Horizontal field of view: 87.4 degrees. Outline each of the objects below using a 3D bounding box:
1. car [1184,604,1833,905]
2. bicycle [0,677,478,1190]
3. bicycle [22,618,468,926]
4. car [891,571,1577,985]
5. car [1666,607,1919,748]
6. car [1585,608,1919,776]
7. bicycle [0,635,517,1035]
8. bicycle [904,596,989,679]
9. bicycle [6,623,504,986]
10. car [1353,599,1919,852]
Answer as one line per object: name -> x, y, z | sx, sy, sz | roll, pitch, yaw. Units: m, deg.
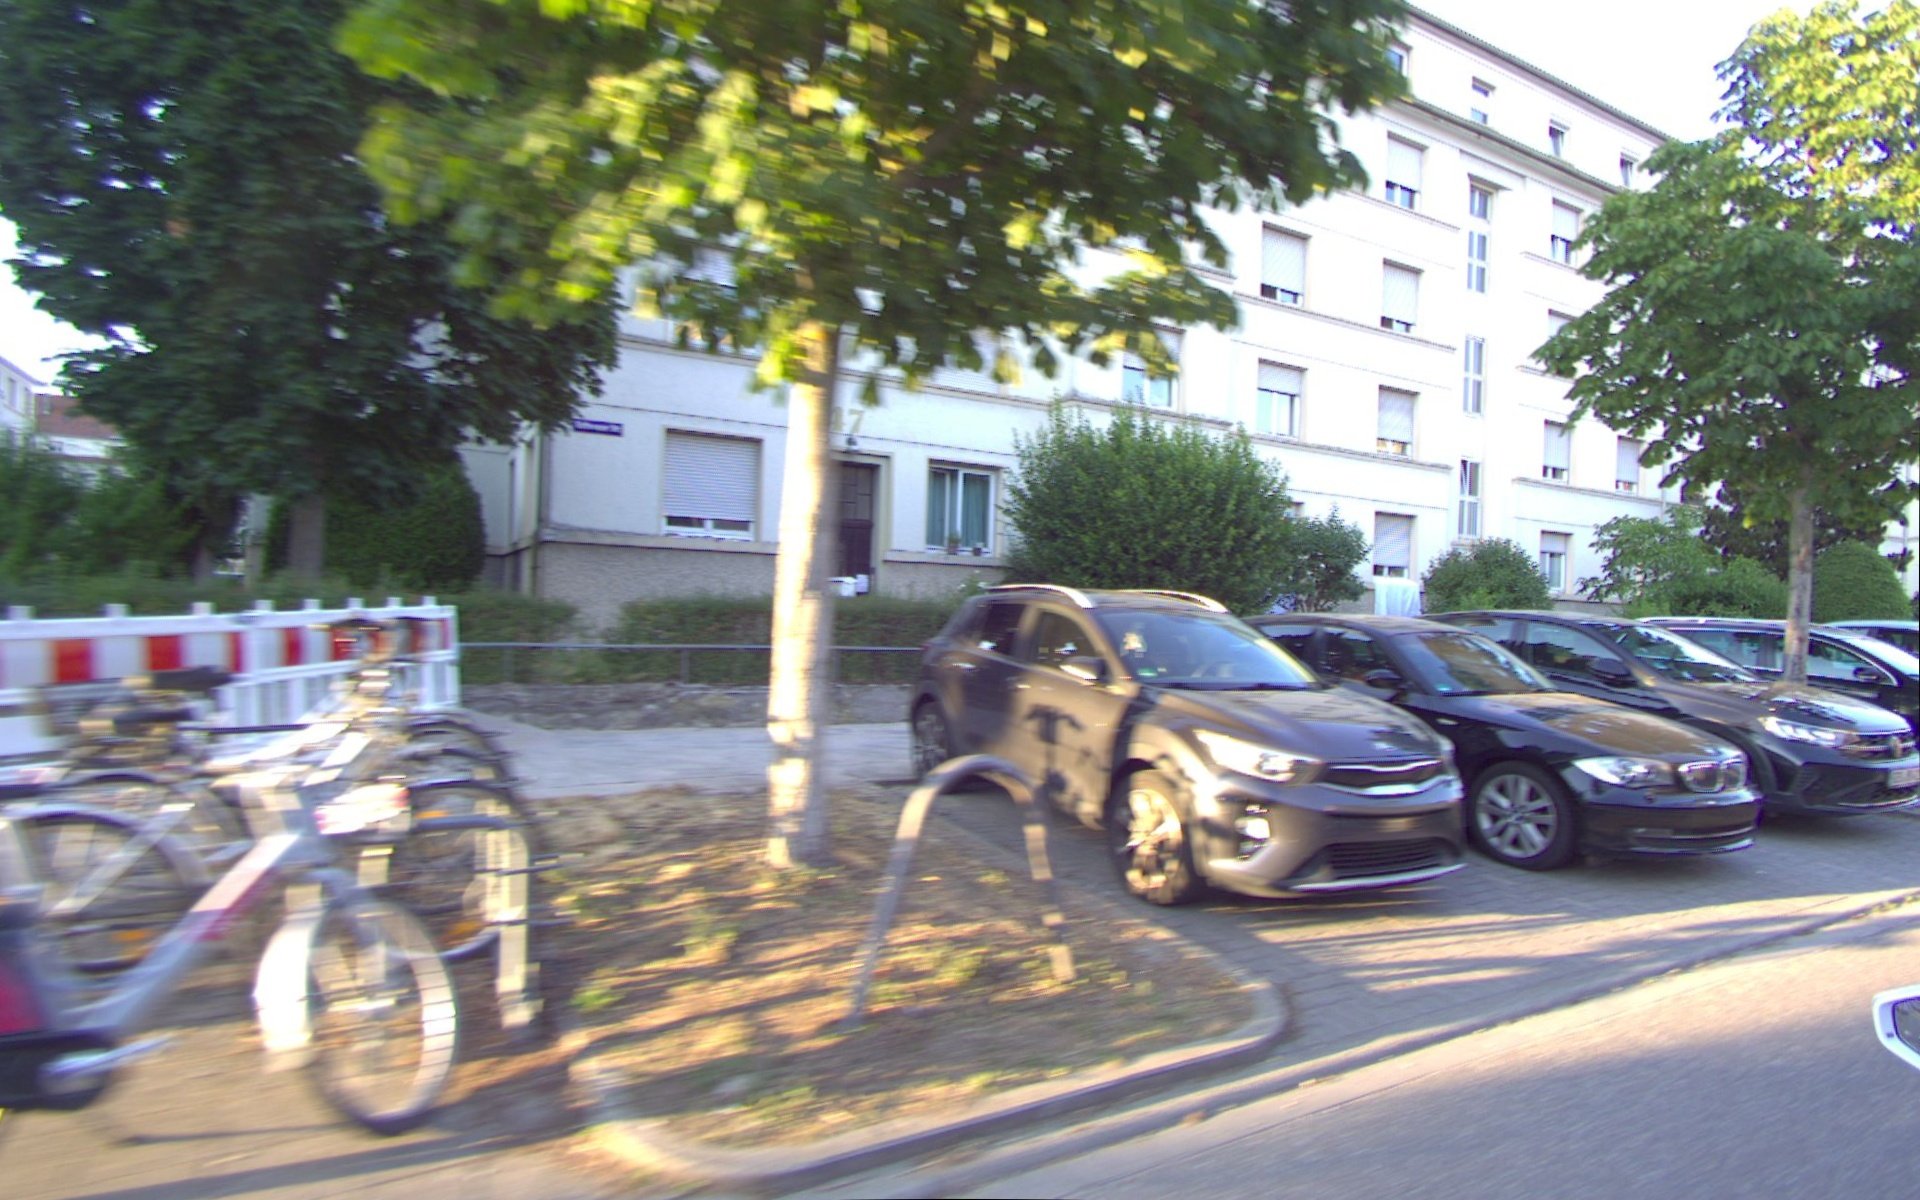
car -> 3.495, 0.821, 7.201 | 1.586, 1.403, 3.827 | 2, 1, -27
bicycle -> -2.128, 0.775, 2.530 | 1.610, 1.110, 0.445 | 1, -1, -30
bicycle -> -2.992, 0.684, 4.349 | 1.508, 1.173, 0.278 | 2, 0, -30
car -> 1.160, 0.659, 6.007 | 1.706, 1.562, 3.972 | 2, 1, -27
car -> 11.391, 0.938, 12.654 | 1.706, 1.504, 3.686 | 2, 1, -27
car -> 9.657, 0.948, 11.020 | 1.706, 1.504, 4.490 | 2, 1, -27
bicycle -> -2.356, 0.721, 3.414 | 1.508, 1.173, 0.278 | 2, 0, -30
bicycle -> -0.263, 0.612, 17.240 | 0.438, 1.336, 1.877 | 2, -1, -35
bicycle -> -2.622, 0.705, 3.902 | 1.508, 1.174, 0.278 | -2, 2, -30
car -> 5.625, 0.837, 8.659 | 1.706, 1.504, 4.016 | 2, 1, -27
